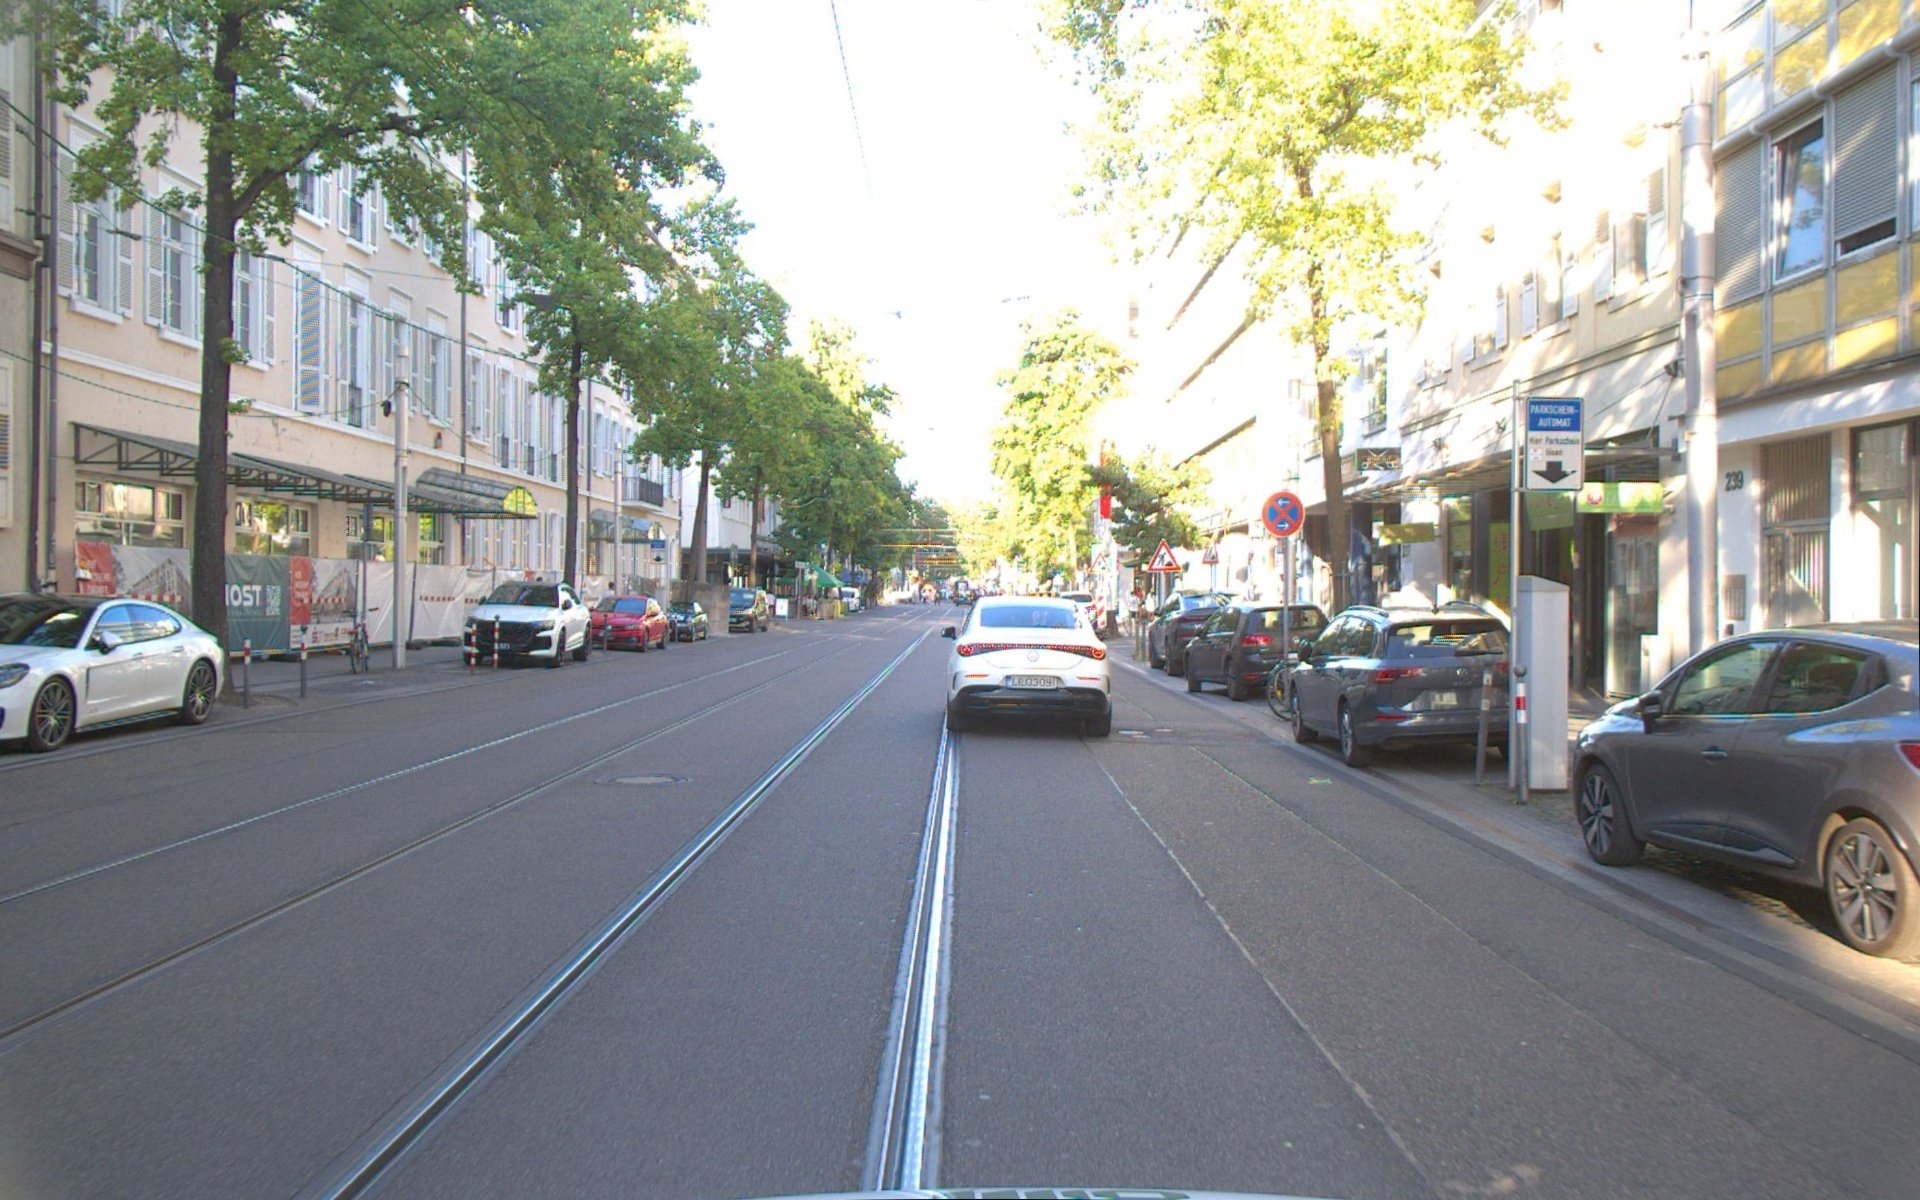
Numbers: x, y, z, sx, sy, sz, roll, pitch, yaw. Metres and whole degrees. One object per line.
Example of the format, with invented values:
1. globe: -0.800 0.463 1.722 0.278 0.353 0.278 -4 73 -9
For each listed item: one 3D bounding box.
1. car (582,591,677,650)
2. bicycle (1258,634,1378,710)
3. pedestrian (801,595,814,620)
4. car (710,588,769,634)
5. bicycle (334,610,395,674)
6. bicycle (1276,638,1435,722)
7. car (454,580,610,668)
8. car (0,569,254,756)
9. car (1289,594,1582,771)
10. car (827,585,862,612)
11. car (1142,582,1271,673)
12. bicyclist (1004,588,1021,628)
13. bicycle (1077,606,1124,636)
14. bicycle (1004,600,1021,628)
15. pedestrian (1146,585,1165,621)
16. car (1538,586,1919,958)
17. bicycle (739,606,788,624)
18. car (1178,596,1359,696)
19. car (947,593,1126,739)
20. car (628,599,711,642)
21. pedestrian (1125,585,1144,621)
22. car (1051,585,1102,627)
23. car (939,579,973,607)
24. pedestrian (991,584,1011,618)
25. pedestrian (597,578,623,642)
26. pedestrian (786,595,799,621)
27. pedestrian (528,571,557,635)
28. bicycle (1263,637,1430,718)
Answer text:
1. car: -9.030 0.553 45.528 1.654 1.525 4.234 1 0 1
2. bicycle: 4.756 0.948 22.021 1.506 0.981 0.496 0 0 4
3. pedestrian: -9.102 0.451 98.442 0.511 1.504 0.644 -2 -1 -27
4. car: -8.932 0.427 67.186 1.519 1.827 3.170 0 0 9
5. bicycle: -10.527 0.729 29.286 0.582 1.068 2.006 0 0 -7
6. bicycle: 4.807 0.971 20.172 1.856 0.981 0.332 0 0 5
7. car: -9.049 0.483 35.444 1.921 1.721 5.013 1 0 1
8. car: -9.411 0.539 17.179 1.906 1.668 4.910 1 0 2
9. car: 4.549 0.716 16.475 1.832 1.478 4.107 -2 0 2
10. car: -9.069 -0.114 129.833 1.951 2.049 4.003 0 0 8
11. car: 5.044 0.515 34.447 1.953 1.743 4.866 0 0 0
12. bicyclist: 2.291 0.331 71.887 0.710 1.732 0.811 0 0 1
13. bicycle: 5.112 0.758 60.036 1.686 1.080 0.581 0 0 3
14. bicycle: 2.287 0.591 71.848 0.725 1.209 2.160 0 0 1
15. pedestrian: 9.956 0.162 84.337 0.785 1.805 0.681 0 0 -12
16. car: 4.823 0.726 8.776 1.779 1.512 3.996 -3 0 -5
17. bicycle: -9.161 0.689 77.117 2.207 0.845 0.716 0 0 23
18. car: 4.861 0.681 26.609 1.802 1.461 3.995 0 0 -6
19. car: 0.794 0.666 18.990 1.830 1.494 4.042 0 0 0
20. car: -9.355 0.633 53.474 1.953 1.315 4.000 1 0 0
21. pedestrian: 8.926 0.163 84.489 0.785 1.805 0.681 0 0 -12
22. car: 4.975 0.249 71.143 1.952 1.758 4.241 0 0 0
23. car: -0.490 -0.765 194.578 3.956 3.169 8.430 0 0 0
24. pedestrian: 2.243 0.053 90.698 0.904 1.805 0.871 0 0 -14
25. pedestrian: -11.237 0.332 53.136 0.693 2.039 0.675 0 0 -3
26. pedestrian: -9.820 0.463 96.869 0.557 1.489 0.650 0 0 19
27. pedestrian: -12.047 0.087 47.743 0.693 1.838 0.675 0 0 -5
28. bicycle: 4.778 0.957 20.517 1.994 0.981 0.282 0 0 5
